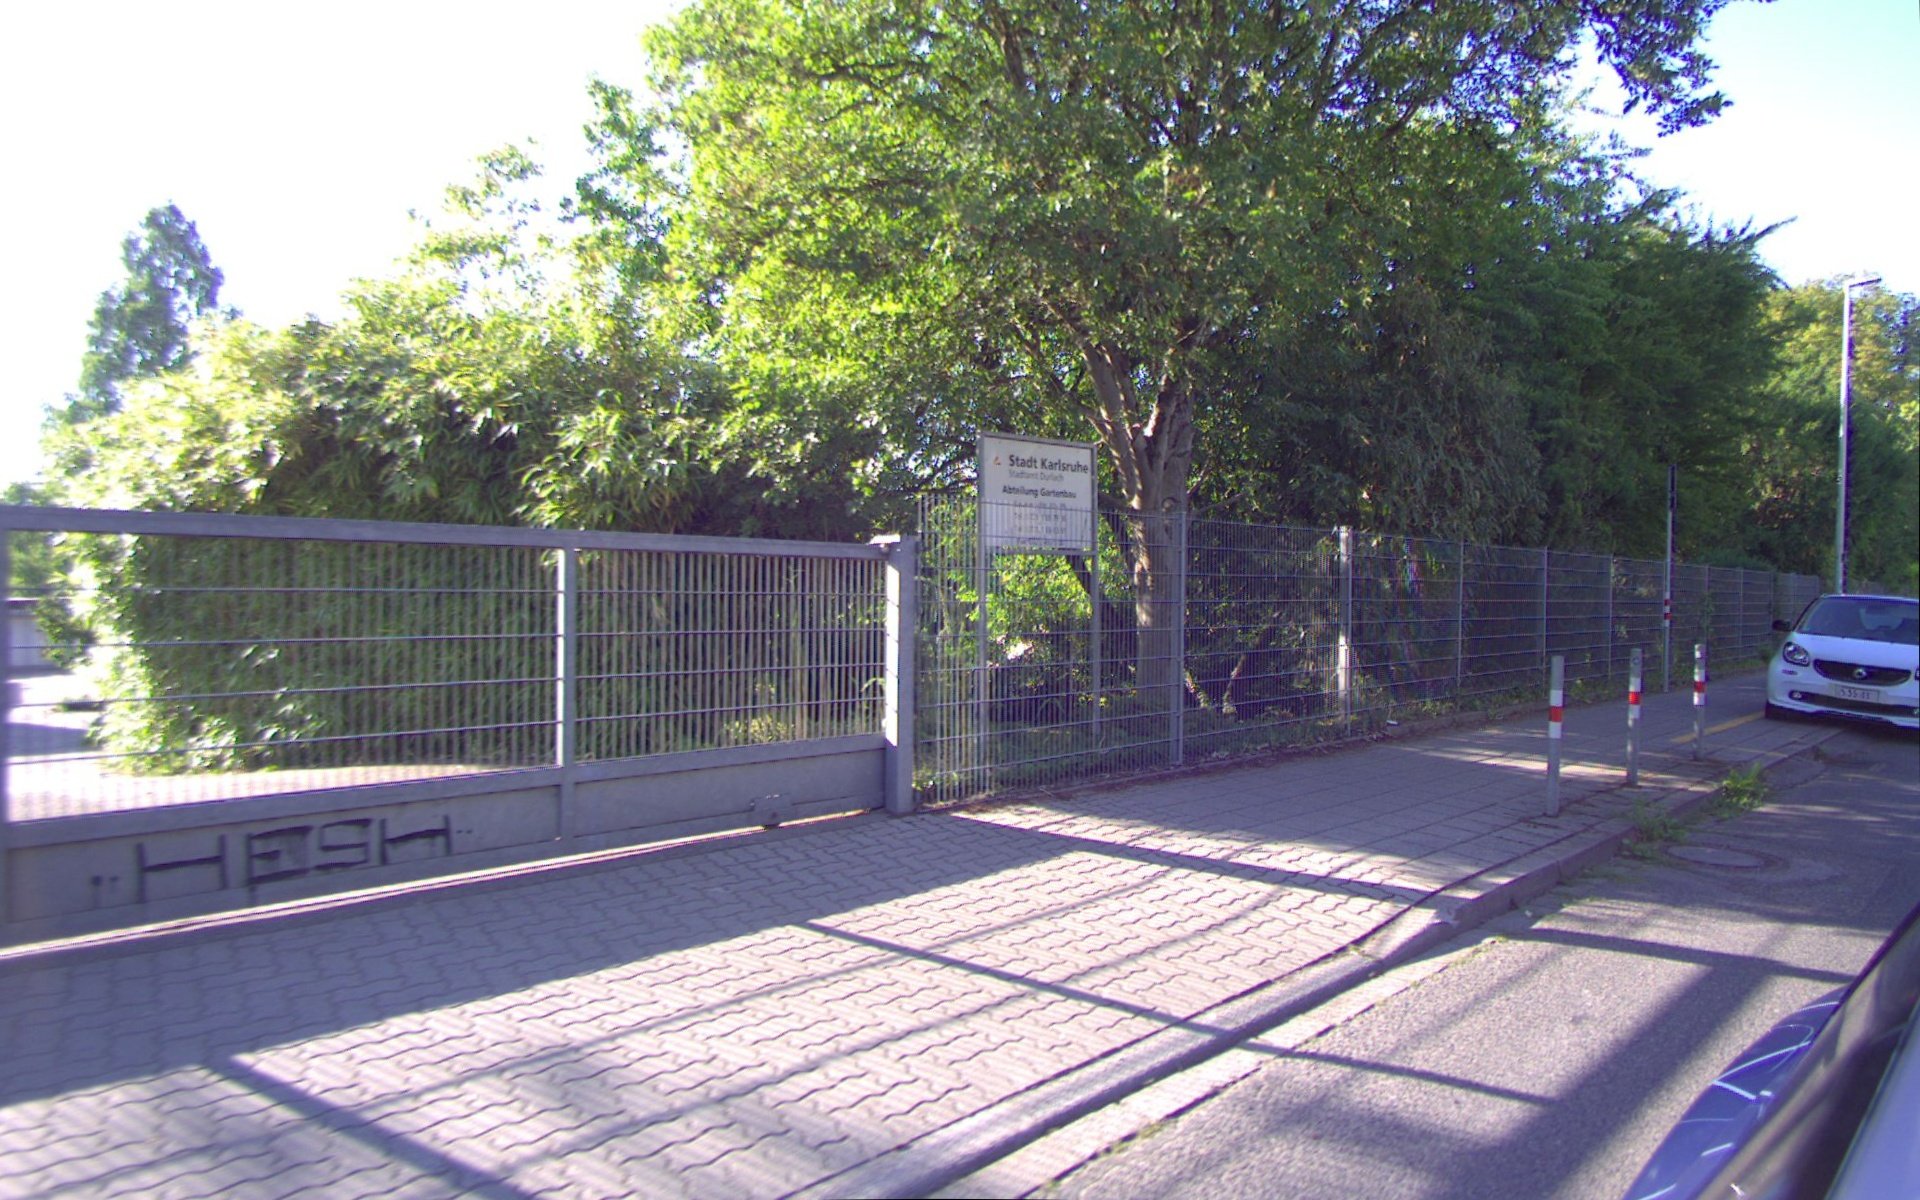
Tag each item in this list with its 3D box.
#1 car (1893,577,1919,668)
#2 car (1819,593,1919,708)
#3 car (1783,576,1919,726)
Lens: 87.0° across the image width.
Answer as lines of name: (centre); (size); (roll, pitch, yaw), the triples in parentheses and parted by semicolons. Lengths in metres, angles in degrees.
car: (18.389, 0.451, 18.331); (2.820, 1.582, 1.658); (-1, 6, -39)
car: (14.420, 0.656, 14.978); (4.726, 1.517, 1.714); (0, -1, -39)
car: (10.916, 0.550, 11.841); (2.855, 1.528, 1.627); (1, 3, -44)
